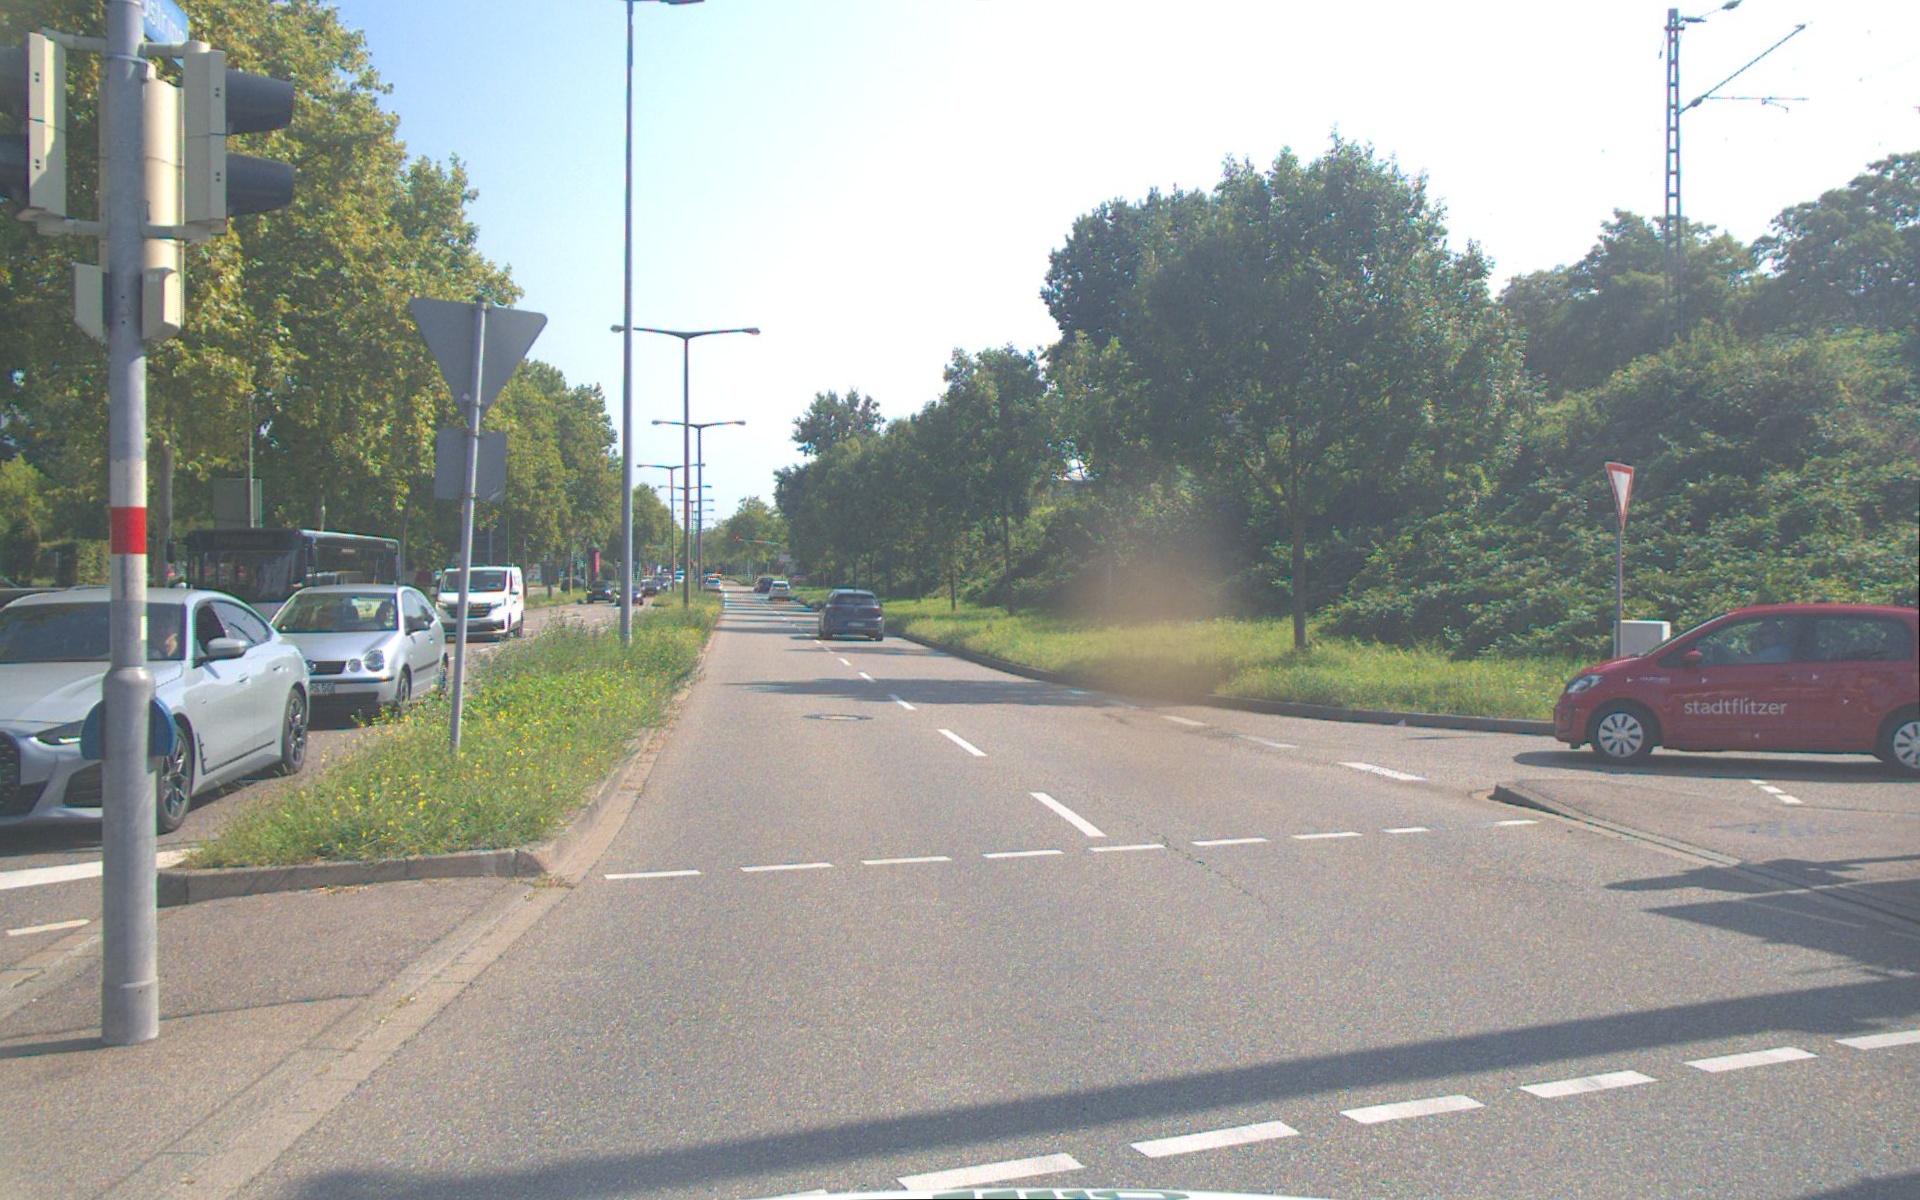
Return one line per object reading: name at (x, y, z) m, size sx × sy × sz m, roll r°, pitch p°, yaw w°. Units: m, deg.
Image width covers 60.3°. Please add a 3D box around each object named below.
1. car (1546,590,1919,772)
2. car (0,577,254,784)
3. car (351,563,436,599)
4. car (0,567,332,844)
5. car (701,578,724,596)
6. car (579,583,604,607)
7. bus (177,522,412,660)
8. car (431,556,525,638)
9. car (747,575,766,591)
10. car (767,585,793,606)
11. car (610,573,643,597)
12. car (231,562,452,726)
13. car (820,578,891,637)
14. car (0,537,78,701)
car at (7.350, 0.691, 15.365) m, size 3.471 × 1.493 × 1.643 m, roll 1°, pitch 0°, yaw 24°
car at (-9.130, 0.743, 17.609) m, size 1.685 × 1.881 × 4.695 m, roll -2°, pitch 1°, yaw -7°
car at (-41.069, -1.366, 120.015) m, size 5.482 × 2.377 × 2.274 m, roll 2°, pitch 3°, yaw -10°
car at (-5.716, 0.562, 11.145) m, size 1.801 × 1.468 × 4.597 m, roll -2°, pitch 1°, yaw -9°
car at (-24.967, -1.329, 167.008) m, size 1.954 × 1.731 × 3.997 m, roll -1°, pitch 0°, yaw -4°
car at (-27.661, -0.360, 124.200) m, size 1.814 × 1.633 × 4.595 m, roll 0°, pitch -2°, yaw -13°
bus at (-15.436, -0.223, 39.360) m, size 2.612 × 2.741 × 10.885 m, roll -2°, pitch 1°, yaw -8°
car at (-12.924, -0.148, 44.598) m, size 1.893 × 1.994 × 5.176 m, roll -2°, pitch 2°, yaw -11°
car at (-23.277, -1.939, 189.244) m, size 1.957 × 1.683 × 3.991 m, roll 3°, pitch -1°, yaw -9°
car at (-14.997, -0.395, 137.510) m, size 1.956 × 1.683 × 3.992 m, roll -1°, pitch 0°, yaw -9°
car at (-22.622, -1.021, 112.223) m, size 1.811 × 1.515 × 4.636 m, roll -2°, pitch 1°, yaw -8°
car at (-6.758, 0.402, 18.471) m, size 1.585 × 1.562 × 4.090 m, roll -2°, pitch 1°, yaw -11°
car at (-3.115, 0.198, 48.568) m, size 1.747 × 1.452 × 3.994 m, roll 2°, pitch 3°, yaw -8°
car at (-12.314, 0.253, 19.748) m, size 1.892 × 1.928 × 3.967 m, roll -2°, pitch 1°, yaw -9°
